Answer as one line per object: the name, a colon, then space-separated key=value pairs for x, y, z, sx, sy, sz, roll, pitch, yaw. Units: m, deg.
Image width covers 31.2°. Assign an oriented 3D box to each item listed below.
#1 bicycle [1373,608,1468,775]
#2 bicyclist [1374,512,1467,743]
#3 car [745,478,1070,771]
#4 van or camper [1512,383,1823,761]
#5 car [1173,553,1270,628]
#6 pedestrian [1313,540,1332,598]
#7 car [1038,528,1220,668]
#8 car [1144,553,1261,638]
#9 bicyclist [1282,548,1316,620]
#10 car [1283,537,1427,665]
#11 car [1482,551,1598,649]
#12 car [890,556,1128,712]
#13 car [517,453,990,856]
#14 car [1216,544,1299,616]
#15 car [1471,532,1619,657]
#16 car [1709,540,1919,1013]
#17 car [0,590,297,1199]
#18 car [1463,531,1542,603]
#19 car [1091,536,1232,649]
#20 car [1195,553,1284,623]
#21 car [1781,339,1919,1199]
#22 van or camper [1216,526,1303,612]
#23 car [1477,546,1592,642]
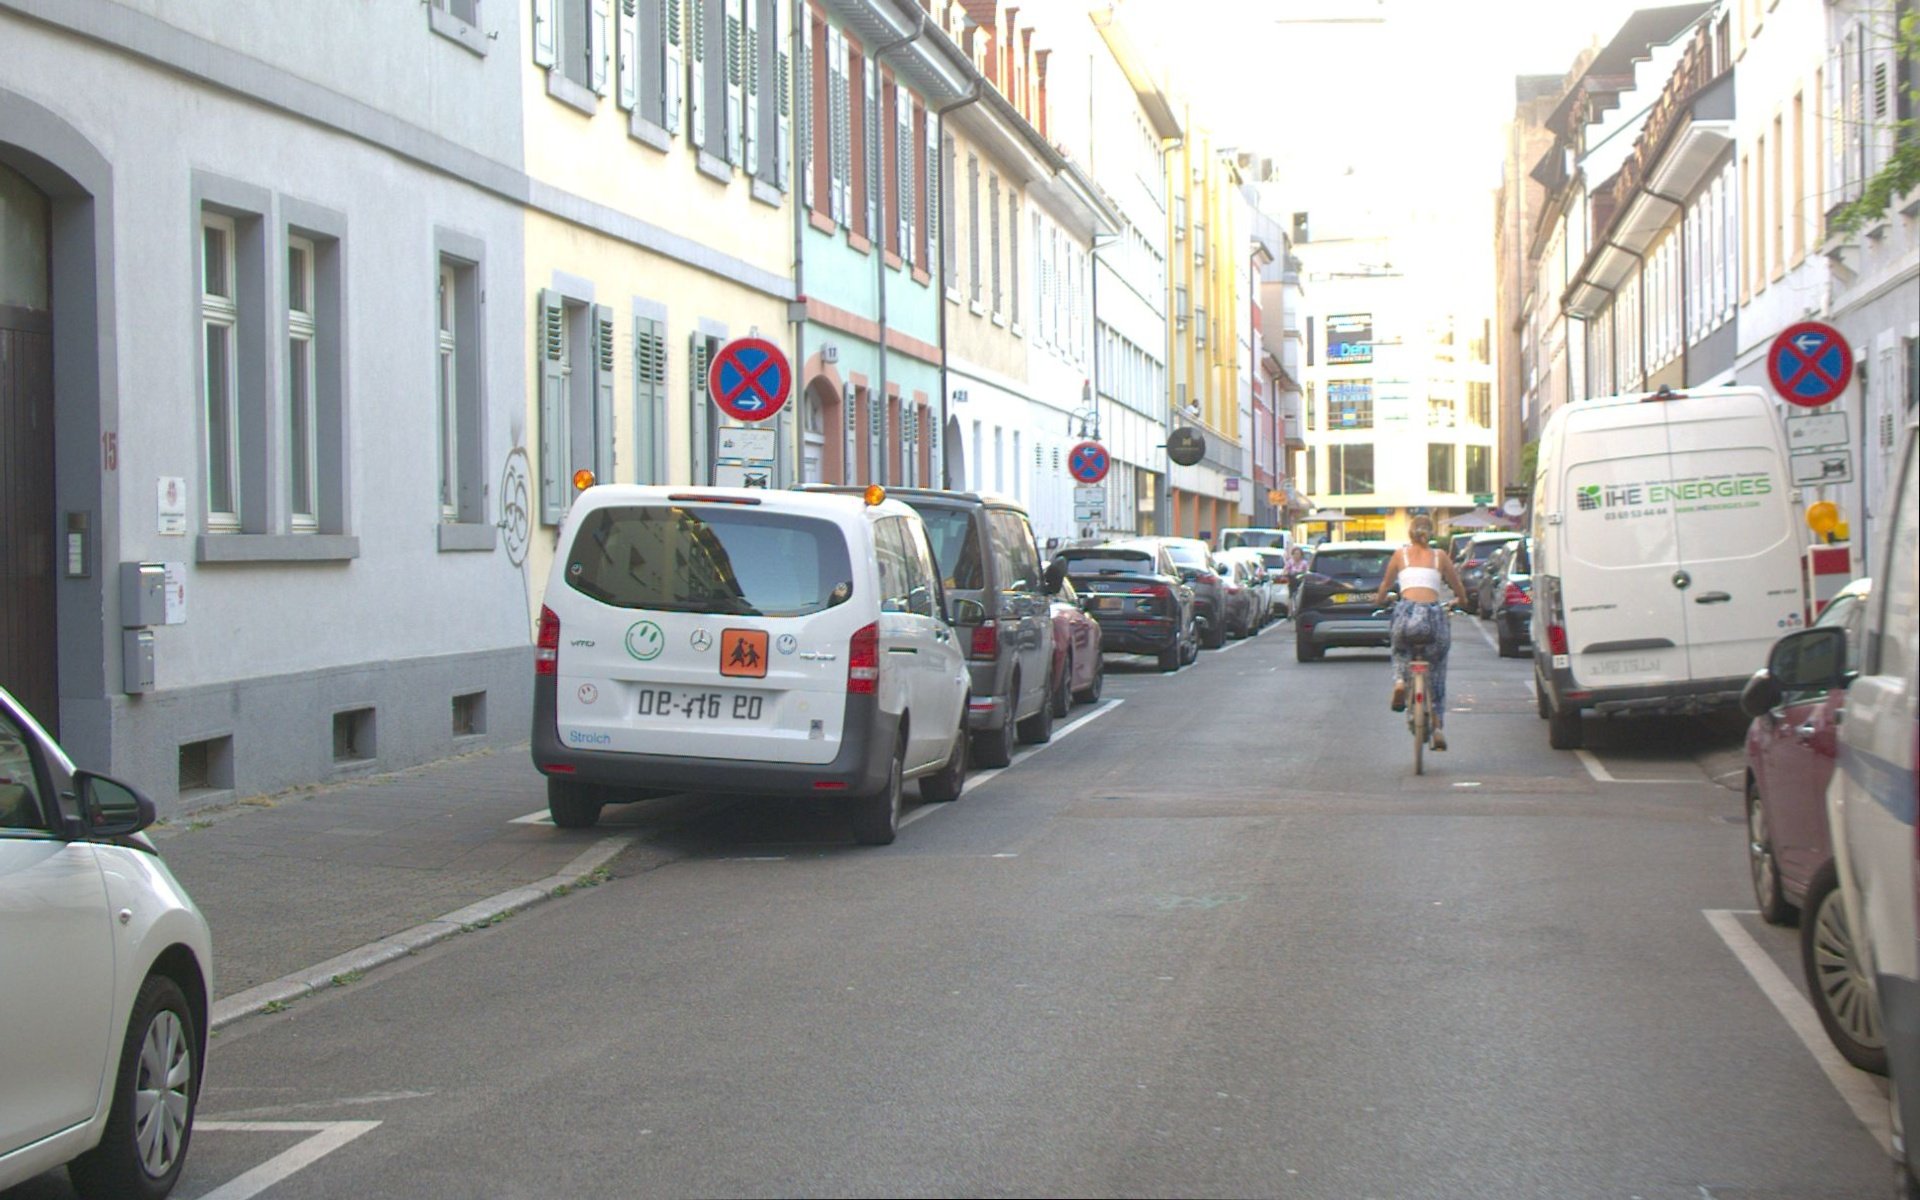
bicycle: x=3.177 y=0.606 z=23.642 sx=0.613 sy=1.078 sz=1.808 roll=0 pitch=1 yaw=9
bicyclist: x=3.174 y=0.183 z=23.672 sx=0.621 sy=1.569 sz=0.683 roll=0 pitch=1 yaw=9
car: x=-0.293 y=0.130 z=26.217 sx=1.863 sy=2.007 sz=4.813 roll=-1 pitch=1 yaw=6
van or camper: x=5.532 y=-0.250 z=27.674 sx=2.051 sy=2.628 sz=7.060 roll=-1 pitch=1 yaw=9
car: x=5.161 y=-0.206 z=67.588 sx=1.654 sy=1.406 sz=3.901 roll=1 pitch=1 yaw=8
pedestrian: x=10.921 y=-0.948 z=103.684 sx=0.554 sy=1.746 sz=0.568 roll=0 pitch=1 yaw=5
car: x=2.195 y=-0.056 z=43.581 sx=1.803 sy=1.671 sz=4.488 roll=-1 pitch=1 yaw=9
car: x=4.335 y=-0.107 z=61.002 sx=1.918 sy=1.429 sz=4.293 roll=1 pitch=1 yaw=6
bicyclist: x=6.453 y=-0.307 z=65.387 sx=0.606 sy=1.365 sz=0.621 roll=0 pitch=1 yaw=9
car: x=5.319 y=-0.020 z=46.085 sx=1.820 sy=1.612 sz=3.999 roll=1 pitch=1 yaw=7
car: x=9.240 y=-0.022 z=54.958 sx=1.676 sy=1.481 sz=3.999 roll=1 pitch=1 yaw=8
car: x=0.543 y=0.280 z=33.197 sx=1.765 sy=1.397 sz=4.261 roll=0 pitch=1 yaw=8
car: x=-1.023 y=0.236 z=19.833 sx=1.863 sy=2.007 sz=5.105 roll=-1 pitch=1 yaw=6
car: x=6.734 y=-0.465 z=77.530 sx=1.654 sy=1.555 sz=3.604 roll=1 pitch=1 yaw=8
car: x=8.110 y=-0.106 z=47.854 sx=1.820 sy=1.525 sz=5.069 roll=-4 pitch=0 yaw=9
car: x=3.866 y=0.527 z=12.778 sx=1.655 sy=1.500 sz=3.753 roll=-1 pitch=1 yaw=5
car: x=-2.744 y=0.718 z=7.000 sx=1.662 sy=1.444 sz=3.520 roll=3 pitch=1 yaw=7
car: x=12.140 y=-0.747 z=77.098 sx=1.654 sy=1.555 sz=3.604 roll=1 pitch=1 yaw=8
car: x=3.260 y=-0.157 z=54.946 sx=1.998 sy=1.701 sz=4.535 roll=1 pitch=1 yaw=6
car: x=5.925 y=-0.278 z=72.589 sx=1.654 sy=1.406 sz=3.604 roll=1 pitch=1 yaw=8
car: x=2.942 y=0.464 z=7.943 sx=1.937 sy=1.891 sz=5.274 roll=-1 pitch=1 yaw=13
van or camper: x=7.281 y=-0.776 z=83.353 sx=1.845 sy=2.006 sz=4.677 roll=1 pitch=1 yaw=8
car: x=10.832 y=-0.141 z=65.025 sx=1.918 sy=1.732 sz=4.152 roll=1 pitch=1 yaw=7
